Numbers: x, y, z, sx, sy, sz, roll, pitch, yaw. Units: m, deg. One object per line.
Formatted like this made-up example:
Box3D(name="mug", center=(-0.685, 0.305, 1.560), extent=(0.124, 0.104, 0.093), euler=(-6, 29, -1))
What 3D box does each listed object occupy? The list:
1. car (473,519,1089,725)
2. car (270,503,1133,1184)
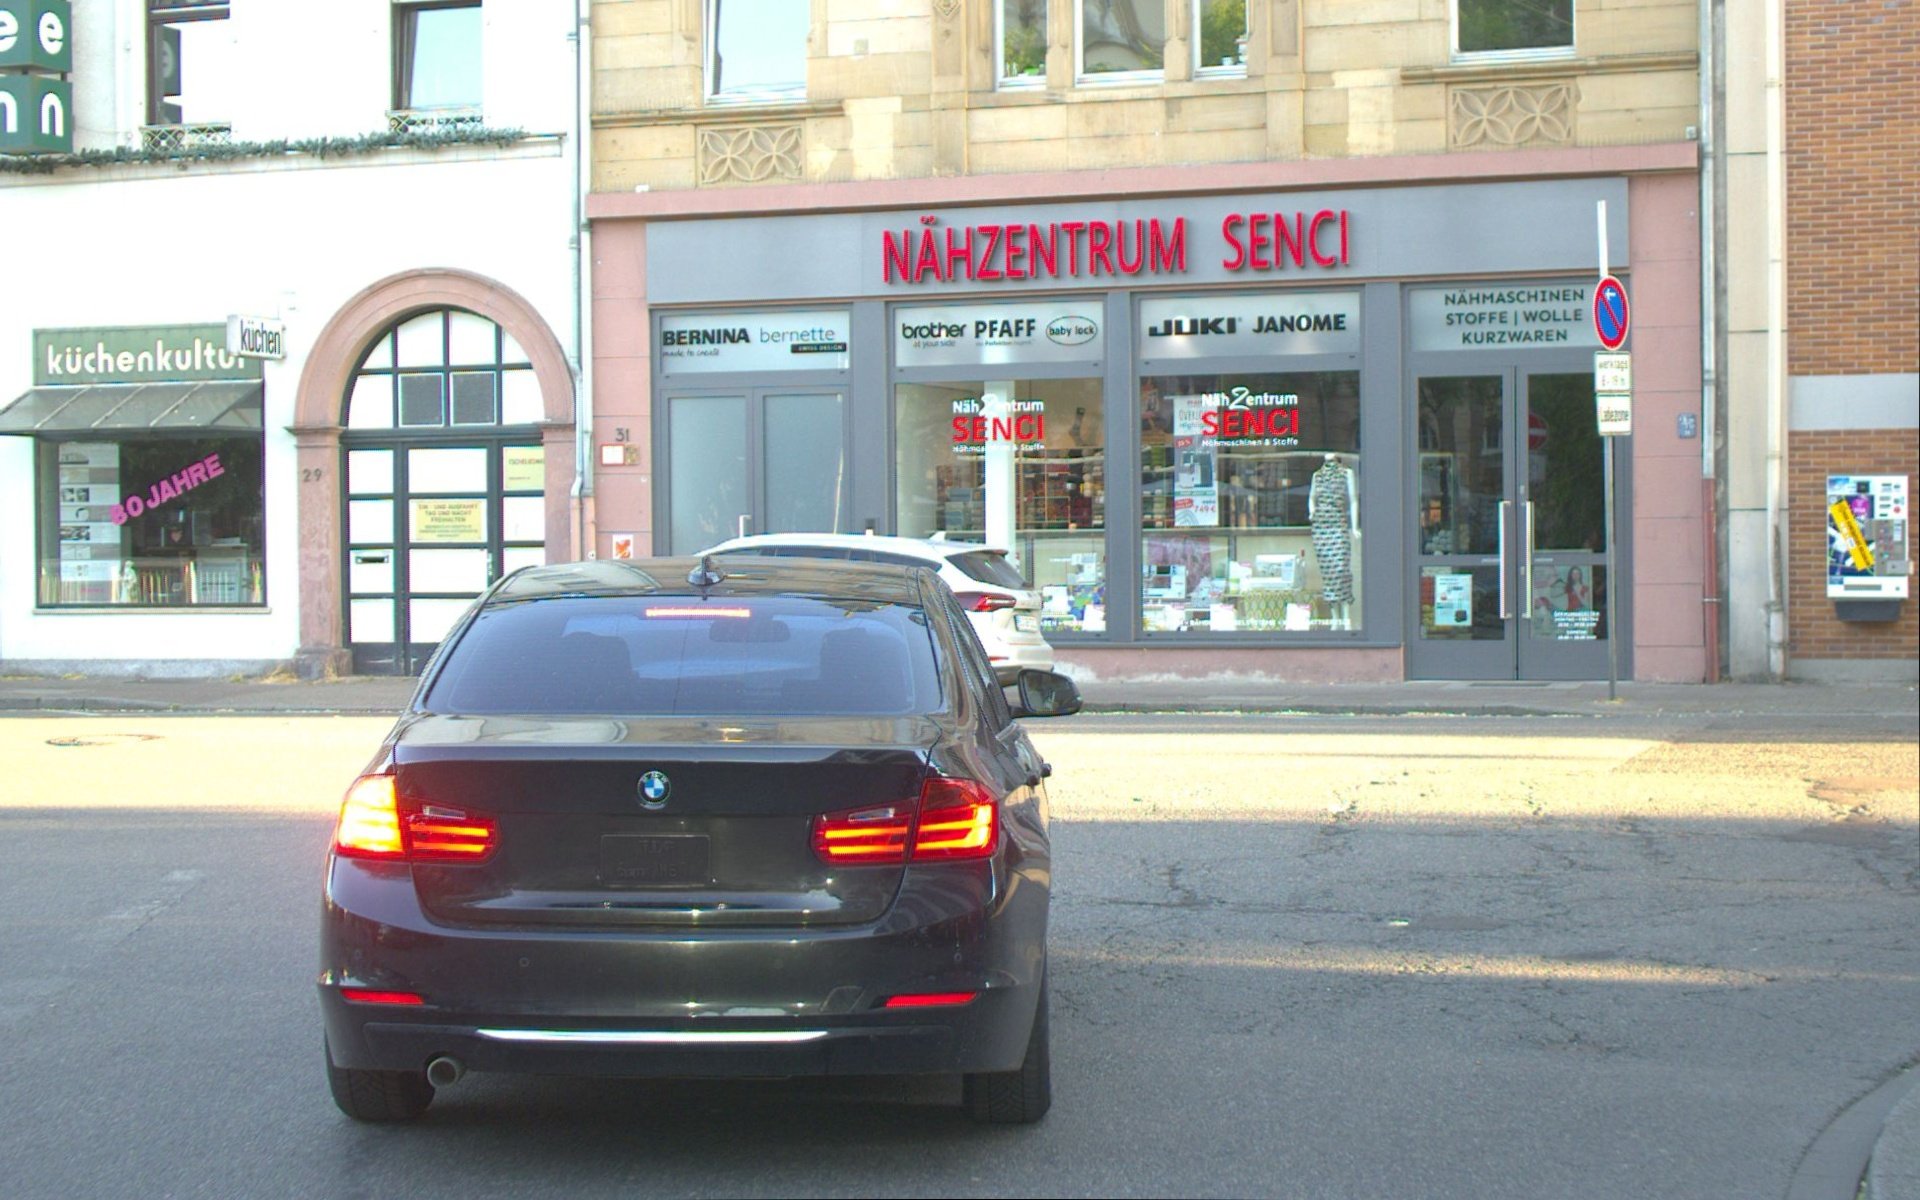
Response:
Box3D(name="car", center=(-1.463, 0.140, 28.475), extent=(4.671, 1.530, 1.998), euler=(1, 1, 19))
Box3D(name="car", center=(-0.639, 0.519, 9.664), extent=(1.888, 1.487, 4.205), euler=(0, 0, -2))
